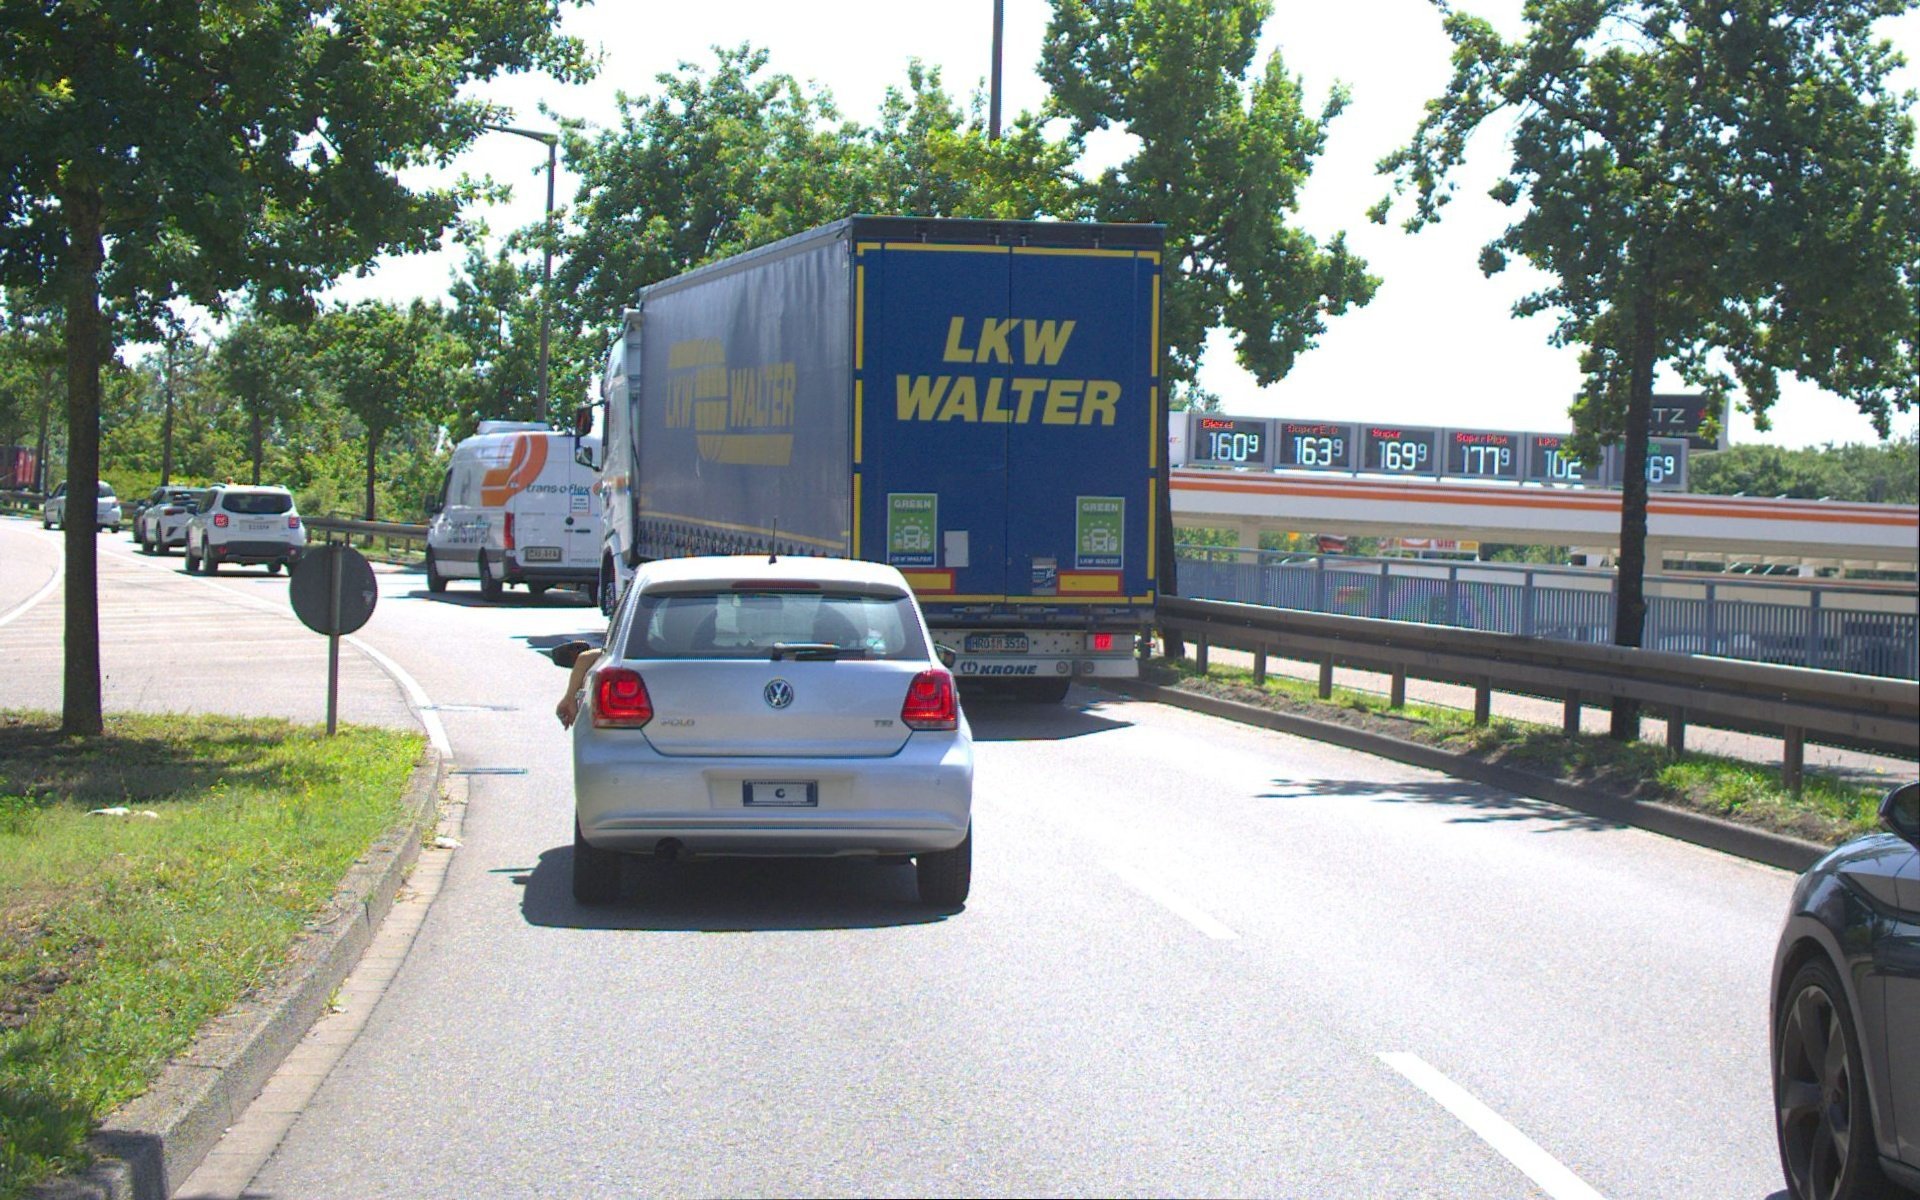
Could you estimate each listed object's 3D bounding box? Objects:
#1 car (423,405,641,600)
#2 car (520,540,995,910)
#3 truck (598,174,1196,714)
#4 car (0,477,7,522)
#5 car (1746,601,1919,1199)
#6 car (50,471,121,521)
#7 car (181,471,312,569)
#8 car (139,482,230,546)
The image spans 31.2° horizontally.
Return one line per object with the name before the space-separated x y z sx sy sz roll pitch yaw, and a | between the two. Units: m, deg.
car | -6.979 -1.597 55.399 2.175 2.890 6.360 2 2 -19
car | -1.015 0.497 15.373 1.645 1.434 3.538 2 0 -11
truck | -1.319 -1.362 35.311 2.832 4.184 16.479 1 1 -12
car | -33.376 -3.429 117.232 1.664 1.460 3.582 2 0 -15
car | 2.770 0.750 5.995 1.604 1.451 4.235 2 0 -3
car | -25.015 -2.972 98.261 1.607 1.355 3.664 2 1 -20
car | -13.458 -1.476 64.691 1.903 1.712 4.225 2 0 -18
car | -17.327 -1.916 76.723 1.494 1.355 3.664 2 1 -20
